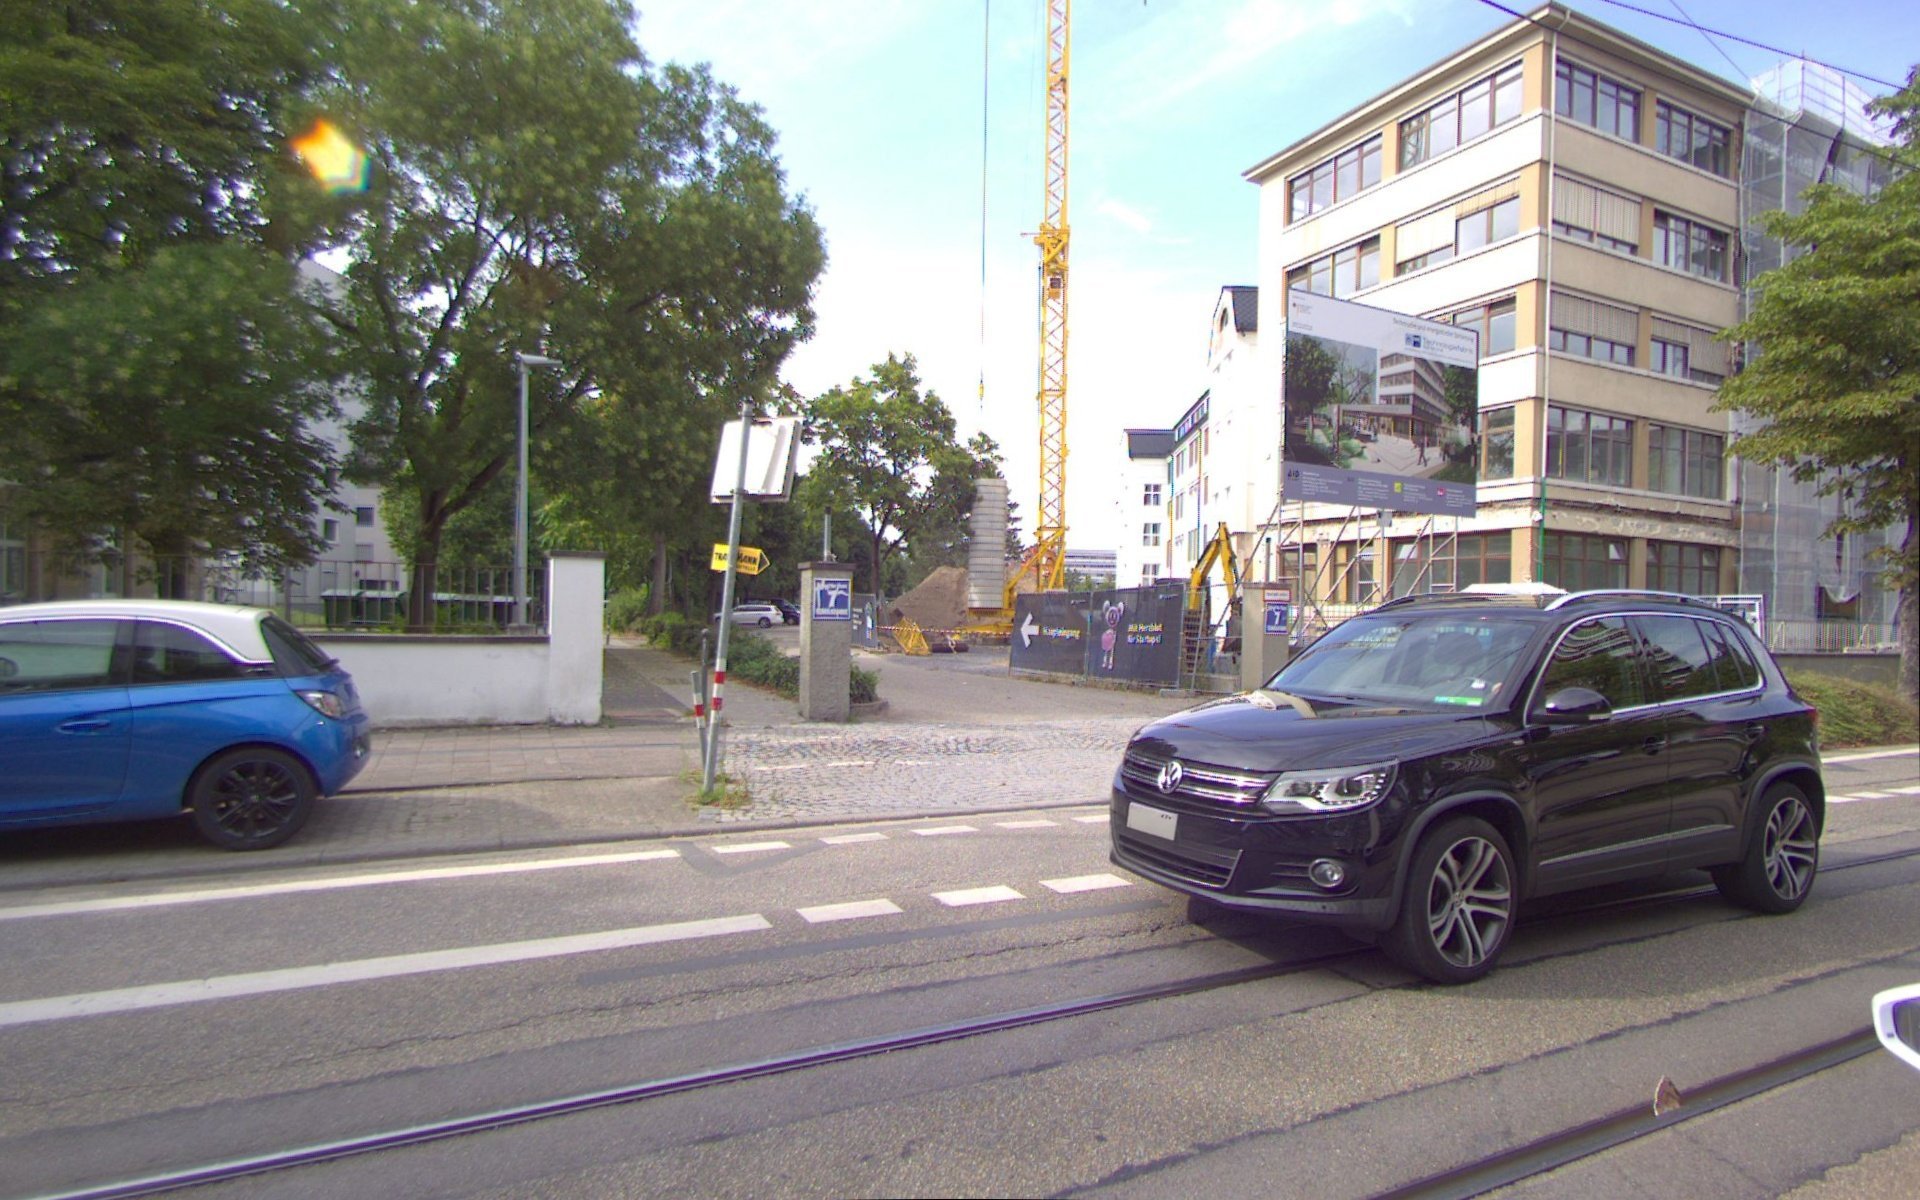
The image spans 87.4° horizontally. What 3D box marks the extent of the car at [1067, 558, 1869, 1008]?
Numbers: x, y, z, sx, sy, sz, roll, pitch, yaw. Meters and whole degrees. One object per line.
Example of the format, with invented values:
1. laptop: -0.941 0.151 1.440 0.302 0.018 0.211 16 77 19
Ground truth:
1. car: 2.865 0.737 5.471 4.322 1.650 1.726 2 -2 -28

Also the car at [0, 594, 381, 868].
1. car: -5.681 0.715 6.176 3.556 1.484 1.622 1 0 -28

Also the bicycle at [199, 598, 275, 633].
1. bicycle: -23.079 0.503 32.090 1.939 1.057 0.594 2 0 -2

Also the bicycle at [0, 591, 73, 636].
1. bicycle: -23.169 0.320 24.812 1.939 1.057 0.594 2 0 -2

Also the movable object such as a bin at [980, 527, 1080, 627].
1. movable object such as a bin: 5.365 -1.480 73.452 3.782 6.758 10.984 2 0 23

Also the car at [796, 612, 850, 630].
1. car: -12.385 1.897 91.273 4.717 1.508 1.999 2 -1 -5

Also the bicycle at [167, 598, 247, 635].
1. bicycle: -23.025 0.492 30.732 1.939 1.057 0.594 2 0 -2

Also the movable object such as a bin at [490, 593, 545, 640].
1. movable object such as a bin: -14.423 0.531 32.783 1.258 1.449 1.122 2 0 1

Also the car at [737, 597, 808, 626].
1. car: -14.011 0.890 75.248 4.963 1.979 2.000 2 -1 -1

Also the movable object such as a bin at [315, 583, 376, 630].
1. movable object such as a bin: -20.203 0.218 33.044 1.258 1.449 1.122 2 0 1

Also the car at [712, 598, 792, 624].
1. car: -13.195 0.709 63.900 4.717 1.508 1.999 2 -1 -5

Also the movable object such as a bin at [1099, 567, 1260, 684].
1. movable object such as a bin: 5.011 0.579 23.332 2.457 2.475 3.051 2 -1 -16

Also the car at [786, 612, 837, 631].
1. car: -13.014 1.869 87.978 4.265 1.564 1.752 2 -1 -5

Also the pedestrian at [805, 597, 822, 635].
1. pedestrian: -7.180 0.783 49.346 0.736 1.813 0.730 2 0 -4

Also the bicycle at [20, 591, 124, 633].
1. bicycle: -23.485 0.328 26.613 1.951 1.057 0.591 2 0 -25

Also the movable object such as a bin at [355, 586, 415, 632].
1. movable object such as a bin: -18.894 0.299 33.041 1.258 1.449 1.122 2 0 1

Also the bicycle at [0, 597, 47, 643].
1. bicycle: -23.121 0.462 24.027 1.939 1.057 0.594 2 0 -2

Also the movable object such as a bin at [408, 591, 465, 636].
1. movable object such as a bin: -17.264 0.447 33.161 1.258 1.449 1.122 2 0 1

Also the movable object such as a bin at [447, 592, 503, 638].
1. movable object such as a bin: -15.931 0.492 33.022 1.258 1.449 1.122 2 0 1
